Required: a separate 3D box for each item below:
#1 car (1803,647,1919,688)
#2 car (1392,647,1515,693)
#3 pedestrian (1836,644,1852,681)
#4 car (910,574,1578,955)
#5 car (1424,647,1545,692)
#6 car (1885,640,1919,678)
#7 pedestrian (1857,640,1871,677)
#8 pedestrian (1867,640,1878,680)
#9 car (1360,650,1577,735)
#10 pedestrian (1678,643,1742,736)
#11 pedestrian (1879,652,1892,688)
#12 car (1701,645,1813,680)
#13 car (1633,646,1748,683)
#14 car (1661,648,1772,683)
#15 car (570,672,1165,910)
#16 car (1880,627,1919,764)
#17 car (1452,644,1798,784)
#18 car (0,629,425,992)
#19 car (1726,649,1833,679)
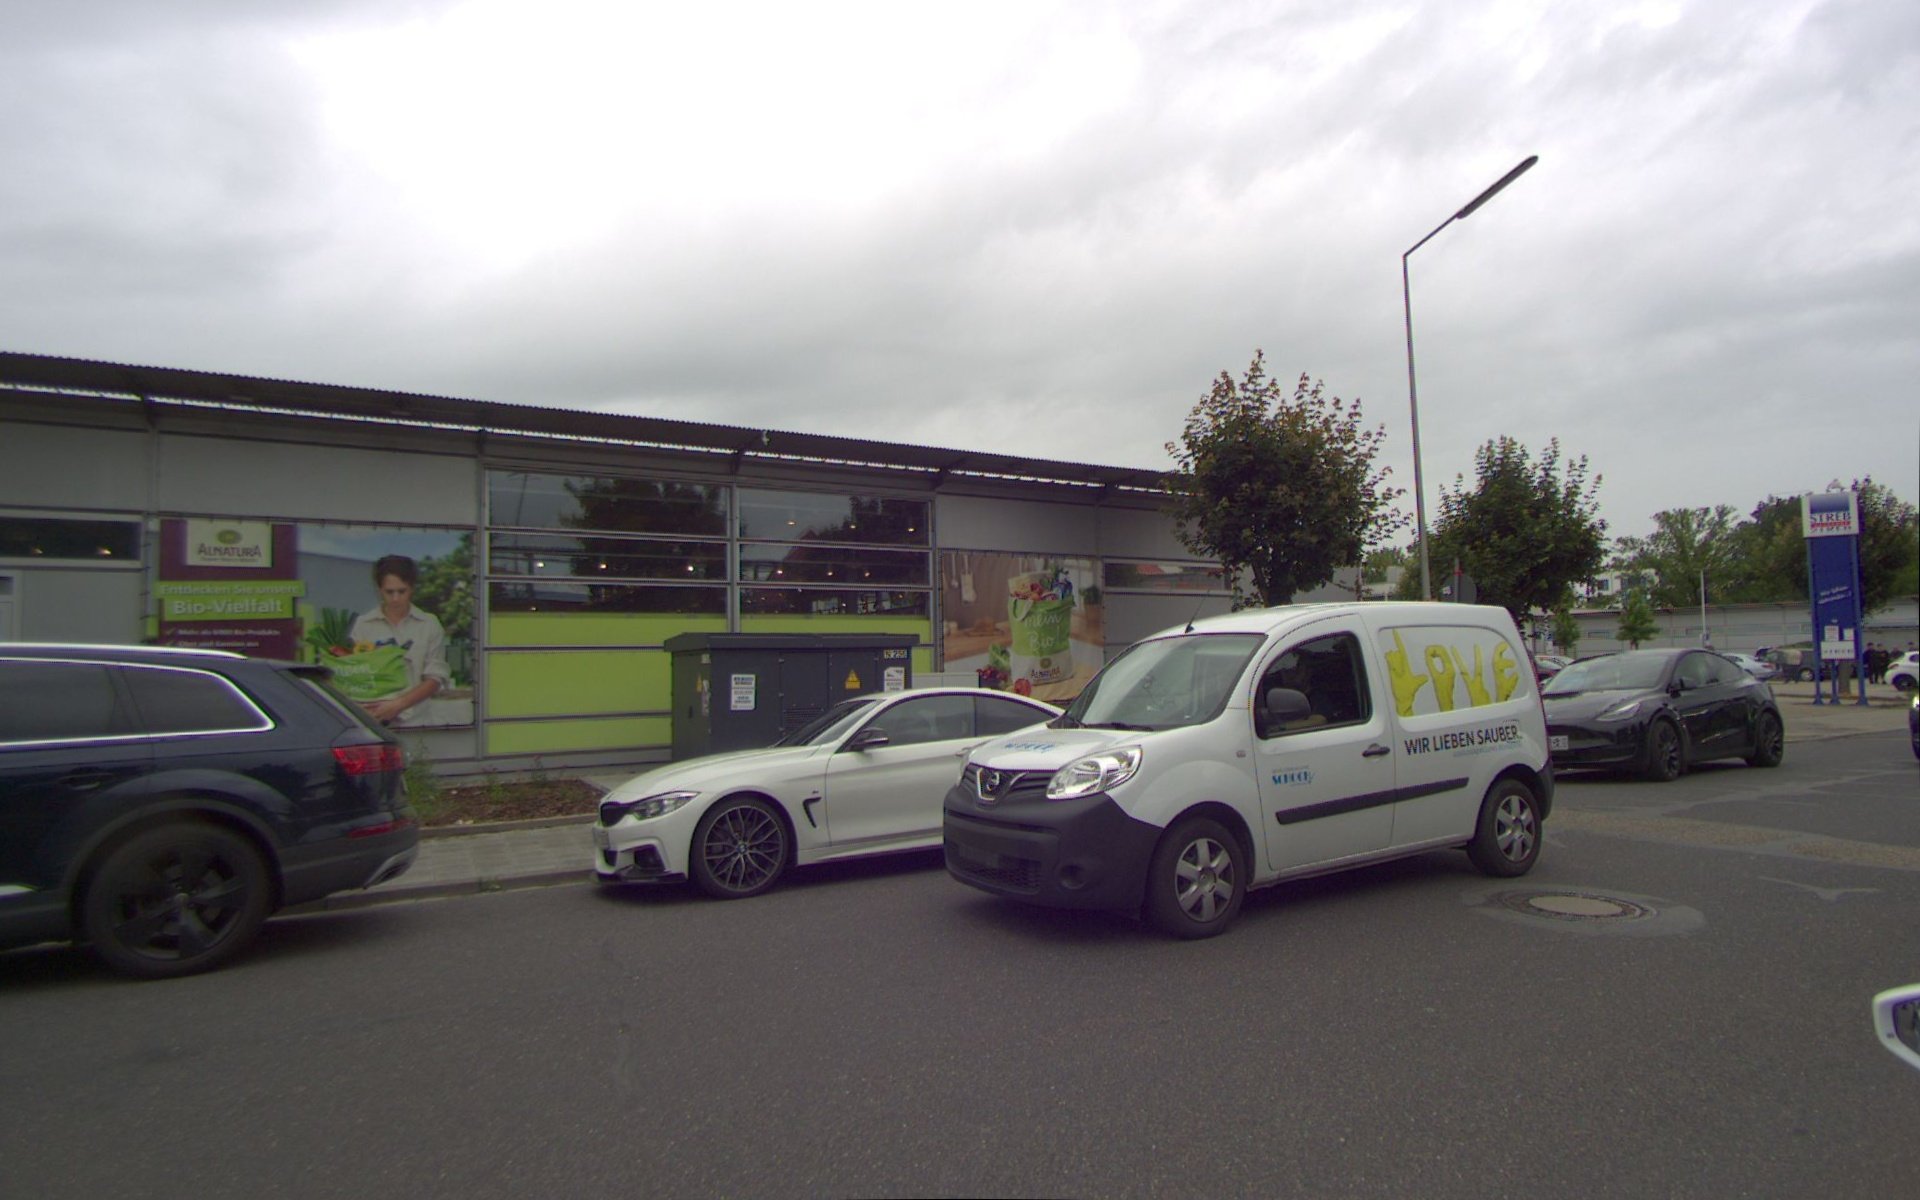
[{"bbox_3d":[34.432,2.514,37.477,1.935,1.482,4.175,2,-4,-36],"label":"car"},{"bbox_3d":[19.335,2.739,39.515,1.853,1.690,3.971,1,-4,-29],"label":"car"},{"bbox_3d":[39.453,2.785,44.845,0.450,1.663,0.372,-4,-4,43],"label":"pedestrian"},{"bbox_3d":[1.896,0.889,6.492,4.084,1.783,1.684,1,-6,-29],"label":"car"},{"bbox_3d":[21.292,2.826,40.906,1.853,1.690,3.971,1,-4,-29],"label":"car"},{"bbox_3d":[39.422,2.305,39.505,1.879,1.482,4.111,2,-4,-34],"label":"car"},{"bbox_3d":[39.687,2.578,44.081,0.500,1.590,0.356,2,-4,-43],"label":"pedestrian"},{"bbox_3d":[40.252,2.662,44.304,0.419,1.752,0.260,2,-4,-42],"label":"pedestrian"},{"bbox_3d":[11.041,1.941,22.064,1.904,1.641,3.858,1,-3,-29],"label":"car"},{"bbox_3d":[14.491,1.714,19.416,0.689,1.737,0.771,1,-3,-34],"label":"pedestrian"},{"bbox_3d":[40.602,3.062,44.055,0.500,1.590,0.327,2,-4,-43],"label":"pedestrian"},{"bbox_3d":[39.976,3.147,50.499,1.853,1.690,3.971,1,-4,-29],"label":"car"},{"bbox_3d":[34.592,3.067,47.683,1.853,1.690,3.971,1,-4,-29],"label":"car"},{"bbox_3d":[37.594,3.263,50.004,1.853,1.690,3.971,1,-4,-29],"label":"car"},{"bbox_3d":[-0.652,1.383,8.111,4.465,1.384,1.692,1,-9,-30],"label":"car"},{"bbox_3d":[14.184,1.190,13.143,4.444,1.705,1.924,1,-5,-31],"label":"car"},{"bbox_3d":[8.750,1.450,13.168,4.350,1.545,1.940,1,-8,-30],"label":"car"},{"bbox_3d":[-5.503,1.098,5.340,4.671,1.712,1.859,1,-7,-29],"label":"car"},{"bbox_3d":[43.057,3.368,52.844,1.764,1.511,3.972,1,-4,-28],"label":"car"}]
